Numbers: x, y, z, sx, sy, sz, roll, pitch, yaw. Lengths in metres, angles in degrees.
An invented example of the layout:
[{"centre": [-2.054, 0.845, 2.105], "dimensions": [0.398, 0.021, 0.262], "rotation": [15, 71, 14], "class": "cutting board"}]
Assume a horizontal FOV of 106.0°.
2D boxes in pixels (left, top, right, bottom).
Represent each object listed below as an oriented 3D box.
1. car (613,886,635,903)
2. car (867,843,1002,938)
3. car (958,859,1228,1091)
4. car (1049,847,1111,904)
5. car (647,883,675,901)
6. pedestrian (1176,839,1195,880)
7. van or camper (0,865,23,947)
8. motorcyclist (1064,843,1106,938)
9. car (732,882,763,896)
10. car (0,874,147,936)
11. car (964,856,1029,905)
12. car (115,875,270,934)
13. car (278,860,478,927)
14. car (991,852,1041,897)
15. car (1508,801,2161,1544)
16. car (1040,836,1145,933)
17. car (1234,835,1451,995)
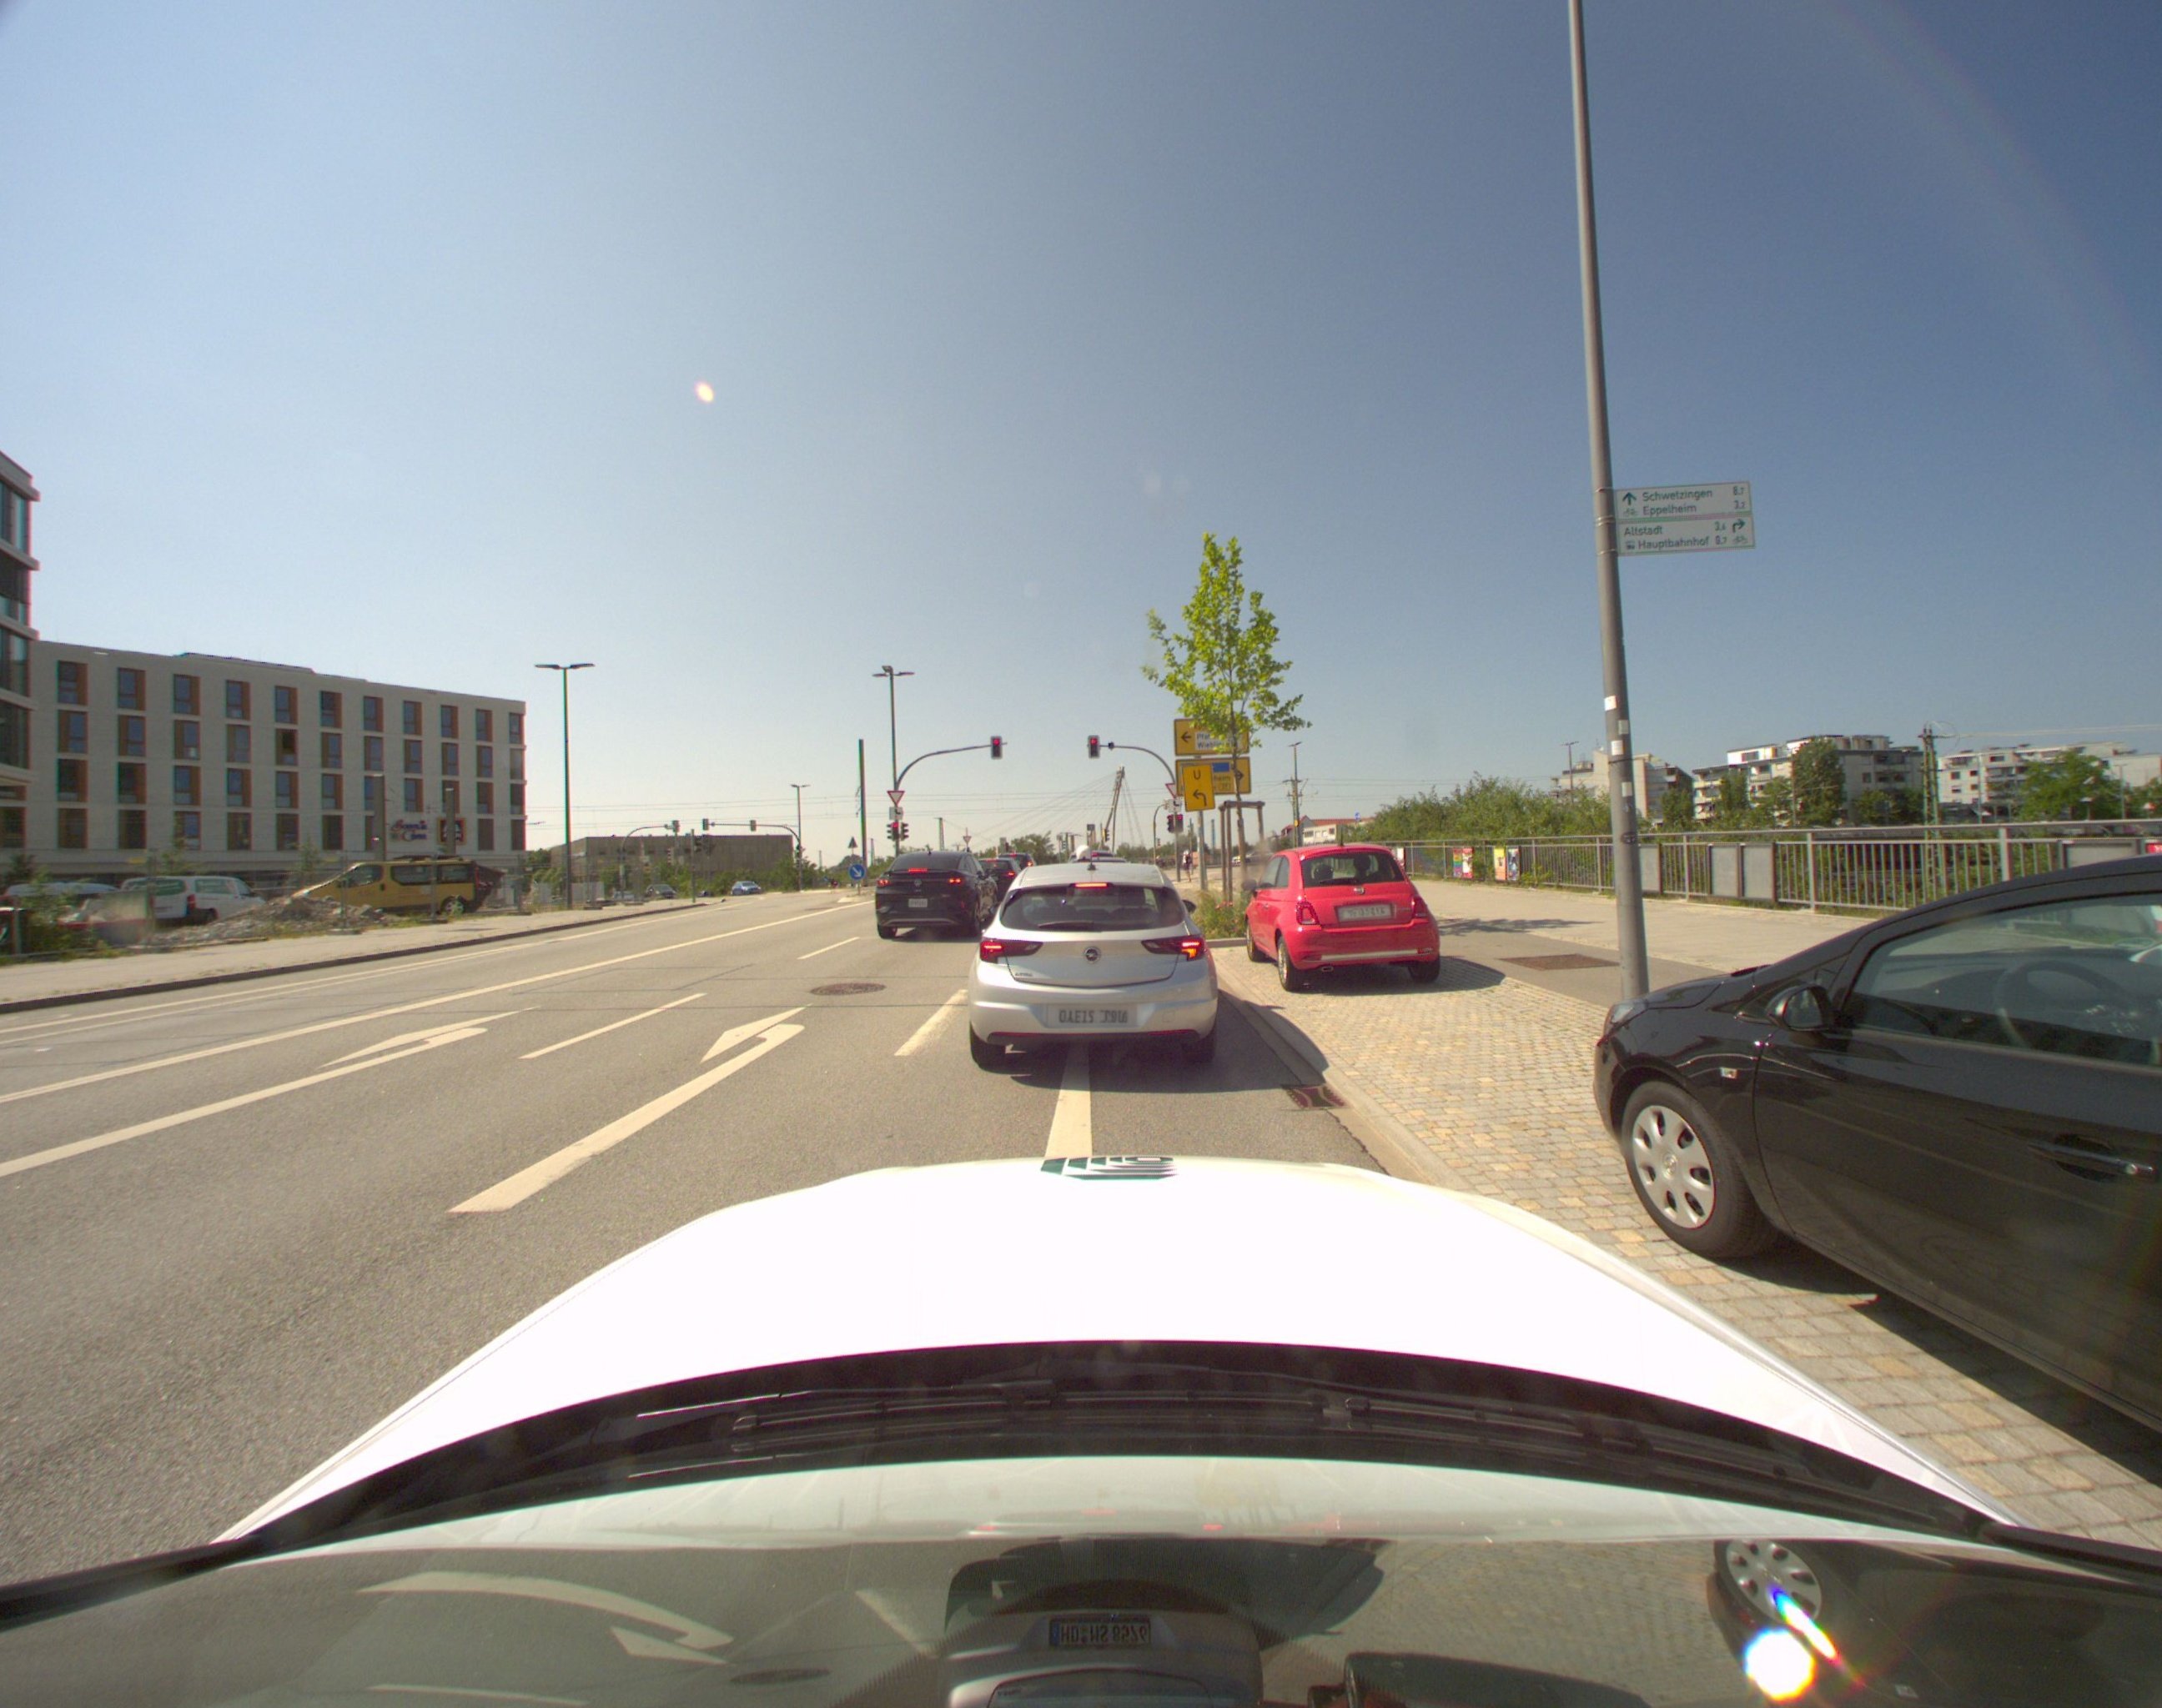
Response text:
[{"centre": [-45.606, 4.048, 81.295], "dimensions": [1.578, 1.587, 3.441], "rotation": [0, -1, -35], "class": "car"}, {"centre": [-2.774, 0.659, 16.411], "dimensions": [1.795, 1.641, 4.367], "rotation": [0, -1, 2], "class": "car"}, {"centre": [0.060, 0.794, 7.256], "dimensions": [1.738, 1.478, 3.998], "rotation": [0, -1, -1], "class": "car"}, {"centre": [0.042, 0.580, 24.524], "dimensions": [1.717, 1.563, 4.002], "rotation": [0, 1, 2], "class": "car"}, {"centre": [-38.582, 3.451, 74.803], "dimensions": [1.686, 1.476, 3.368], "rotation": [-2, 0, -37], "class": "car"}, {"centre": [4.810, 0.267, 37.421], "dimensions": [0.645, 1.836, 0.798], "rotation": [-4, -1, 0], "class": "pedestrian"}, {"centre": [-36.494, 1.717, 25.361], "dimensions": [2.318, 2.735, 4.944], "rotation": [0, -1, -26], "class": "van or camper"}, {"centre": [0.071, 0.542, 12.353], "dimensions": [0.579, 1.389, 0.707], "rotation": [0, -1, 3], "class": "motorcyclist"}, {"centre": [-33.223, 3.517, 81.080], "dimensions": [1.831, 1.331, 3.954], "rotation": [0, -2, -38], "class": "car"}, {"centre": [-33.677, 1.627, 27.220], "dimensions": [1.793, 1.857, 3.820], "rotation": [0, -1, -24], "class": "car"}, {"centre": [-2.605, 0.782, 25.850], "dimensions": [1.569, 1.434, 3.786], "rotation": [0, -1, 1], "class": "car"}, {"centre": [-31.035, 1.689, 28.672], "dimensions": [1.873, 1.774, 4.619], "rotation": [0, -1, -22], "class": "car"}, {"centre": [-22.661, 1.190, 26.401], "dimensions": [1.964, 1.962, 4.655], "rotation": [-1, -1, 40], "class": "car"}, {"centre": [-2.458, 0.754, 31.534], "dimensions": [1.644, 1.615, 3.819], "rotation": [0, -1, 0], "class": "car"}, {"centre": [2.879, 0.577, 1.924], "dimensions": [1.654, 1.426, 4.001], "rotation": [-3, -1, 1], "class": "car"}, {"centre": [0.289, 0.563, 17.690], "dimensions": [1.986, 1.820, 4.404], "rotation": [0, 0, 2], "class": "car"}, {"centre": [2.920, 0.605, 9.797], "dimensions": [1.603, 1.496, 3.355], "rotation": [-4, 0, 3], "class": "car"}]
